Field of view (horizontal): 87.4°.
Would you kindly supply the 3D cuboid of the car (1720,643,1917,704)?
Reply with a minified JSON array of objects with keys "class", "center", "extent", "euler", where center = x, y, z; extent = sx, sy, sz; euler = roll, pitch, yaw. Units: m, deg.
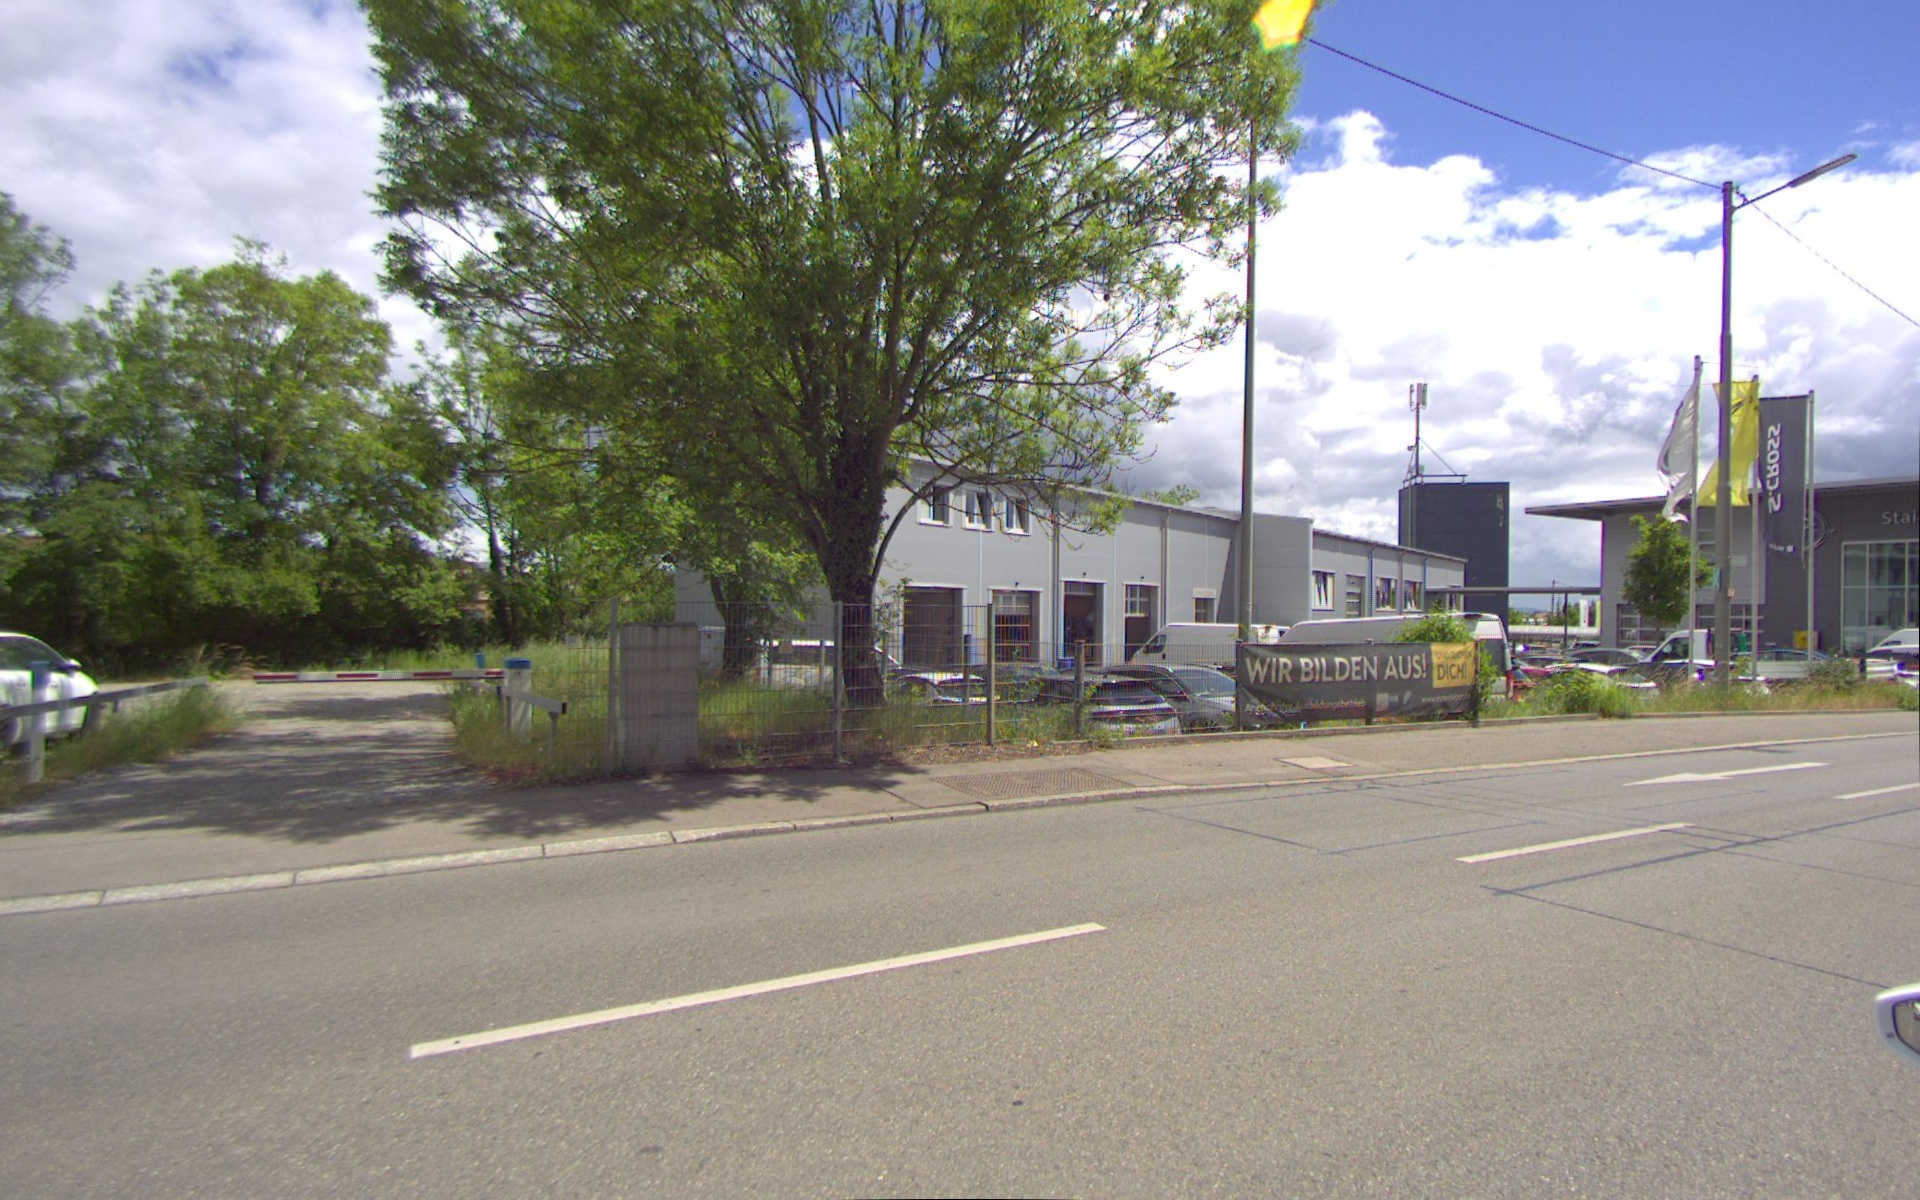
[{"class":"car","center":[24.826,2.105,29.214],"extent":[1.732,1.609,3.971],"euler":[1,-3,-29]}]

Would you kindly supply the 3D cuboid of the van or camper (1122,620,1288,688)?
[{"class":"van or camper","center":[9.458,2.002,39.157],"extent":[5.816,2.386,2.490],"euler":[0,-1,42]}]

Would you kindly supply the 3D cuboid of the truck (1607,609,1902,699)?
[{"class":"truck","center":[21.331,1.410,27.293],"extent":[2.450,2.176,5.829],"euler":[3,-3,-32]}]

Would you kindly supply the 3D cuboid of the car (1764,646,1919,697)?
[{"class":"car","center":[30.267,2.389,34.291],"extent":[1.977,1.428,3.967],"euler":[0,0,-31]}]

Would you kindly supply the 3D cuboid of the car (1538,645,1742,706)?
[{"class":"car","center":[16.589,1.816,24.676],"extent":[1.906,1.227,3.699],"euler":[3,-2,-30]}]

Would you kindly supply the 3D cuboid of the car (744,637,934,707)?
[{"class":"car","center":[-3.272,1.905,27.454],"extent":[4.855,1.751,1.829],"euler":[1,-1,-28]}]

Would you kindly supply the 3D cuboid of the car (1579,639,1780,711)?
[{"class":"car","center":[18.822,1.927,26.458],"extent":[1.906,1.630,3.867],"euler":[3,-1,-30]}]

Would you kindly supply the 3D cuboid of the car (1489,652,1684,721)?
[{"class":"car","center":[14.614,1.987,23.611],"extent":[1.689,1.342,3.534],"euler":[3,-1,-26]}]

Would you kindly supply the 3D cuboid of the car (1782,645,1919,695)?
[{"class":"car","center":[32.132,2.441,35.784],"extent":[1.974,1.511,3.972],"euler":[0,0,-27]}]

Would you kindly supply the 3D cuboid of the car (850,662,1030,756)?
[{"class":"car","center":[-0.500,2.013,19.373],"extent":[1.802,1.404,4.016],"euler":[3,-2,-28]}]

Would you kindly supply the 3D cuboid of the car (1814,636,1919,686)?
[{"class":"car","center":[35.860,2.341,38.789],"extent":[1.972,1.728,3.976],"euler":[0,0,-24]}]

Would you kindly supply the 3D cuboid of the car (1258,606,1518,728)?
[{"class":"car","center":[8.075,1.156,19.321],"extent":[2.174,2.040,4.138],"euler":[0,0,-32]}]

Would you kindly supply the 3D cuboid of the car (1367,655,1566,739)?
[{"class":"car","center":[10.382,1.945,20.794],"extent":[1.705,1.427,3.325],"euler":[3,-1,-26]}]

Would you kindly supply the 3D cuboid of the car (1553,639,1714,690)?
[{"class":"car","center":[22.212,2.111,33.283],"extent":[1.805,1.542,4.060],"euler":[0,-3,-30]}]

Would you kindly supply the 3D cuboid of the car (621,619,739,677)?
[{"class":"car","center":[-9.319,1.541,33.270],"extent":[4.113,1.751,1.833],"euler":[0,-2,42]}]

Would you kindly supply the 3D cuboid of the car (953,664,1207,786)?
[{"class":"car","center":[1.701,1.814,15.577],"extent":[1.905,1.404,4.015],"euler":[3,-2,-29]}]

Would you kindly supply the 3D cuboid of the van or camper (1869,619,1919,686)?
[{"class":"van or camper","center":[38.773,2.070,38.799],"extent":[2.291,2.564,5.003],"euler":[0,0,-30]}]

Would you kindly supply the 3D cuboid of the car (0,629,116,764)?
[{"class":"car","center":[-11.760,1.069,11.708],"extent":[1.841,1.399,4.264],"euler":[1,-1,-25]}]

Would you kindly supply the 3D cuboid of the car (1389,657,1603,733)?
[{"class":"car","center":[12.243,2.134,23.216],"extent":[1.903,1.404,4.019],"euler":[3,-1,-26]}]

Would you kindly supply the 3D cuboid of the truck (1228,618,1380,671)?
[{"class":"truck","center":[16.062,2.045,47.086],"extent":[6.219,2.258,2.690],"euler":[0,-3,40]}]

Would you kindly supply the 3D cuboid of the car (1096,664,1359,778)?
[{"class":"car","center":[4.209,1.867,16.444],"extent":[1.905,1.404,4.016],"euler":[3,-2,-28]}]
